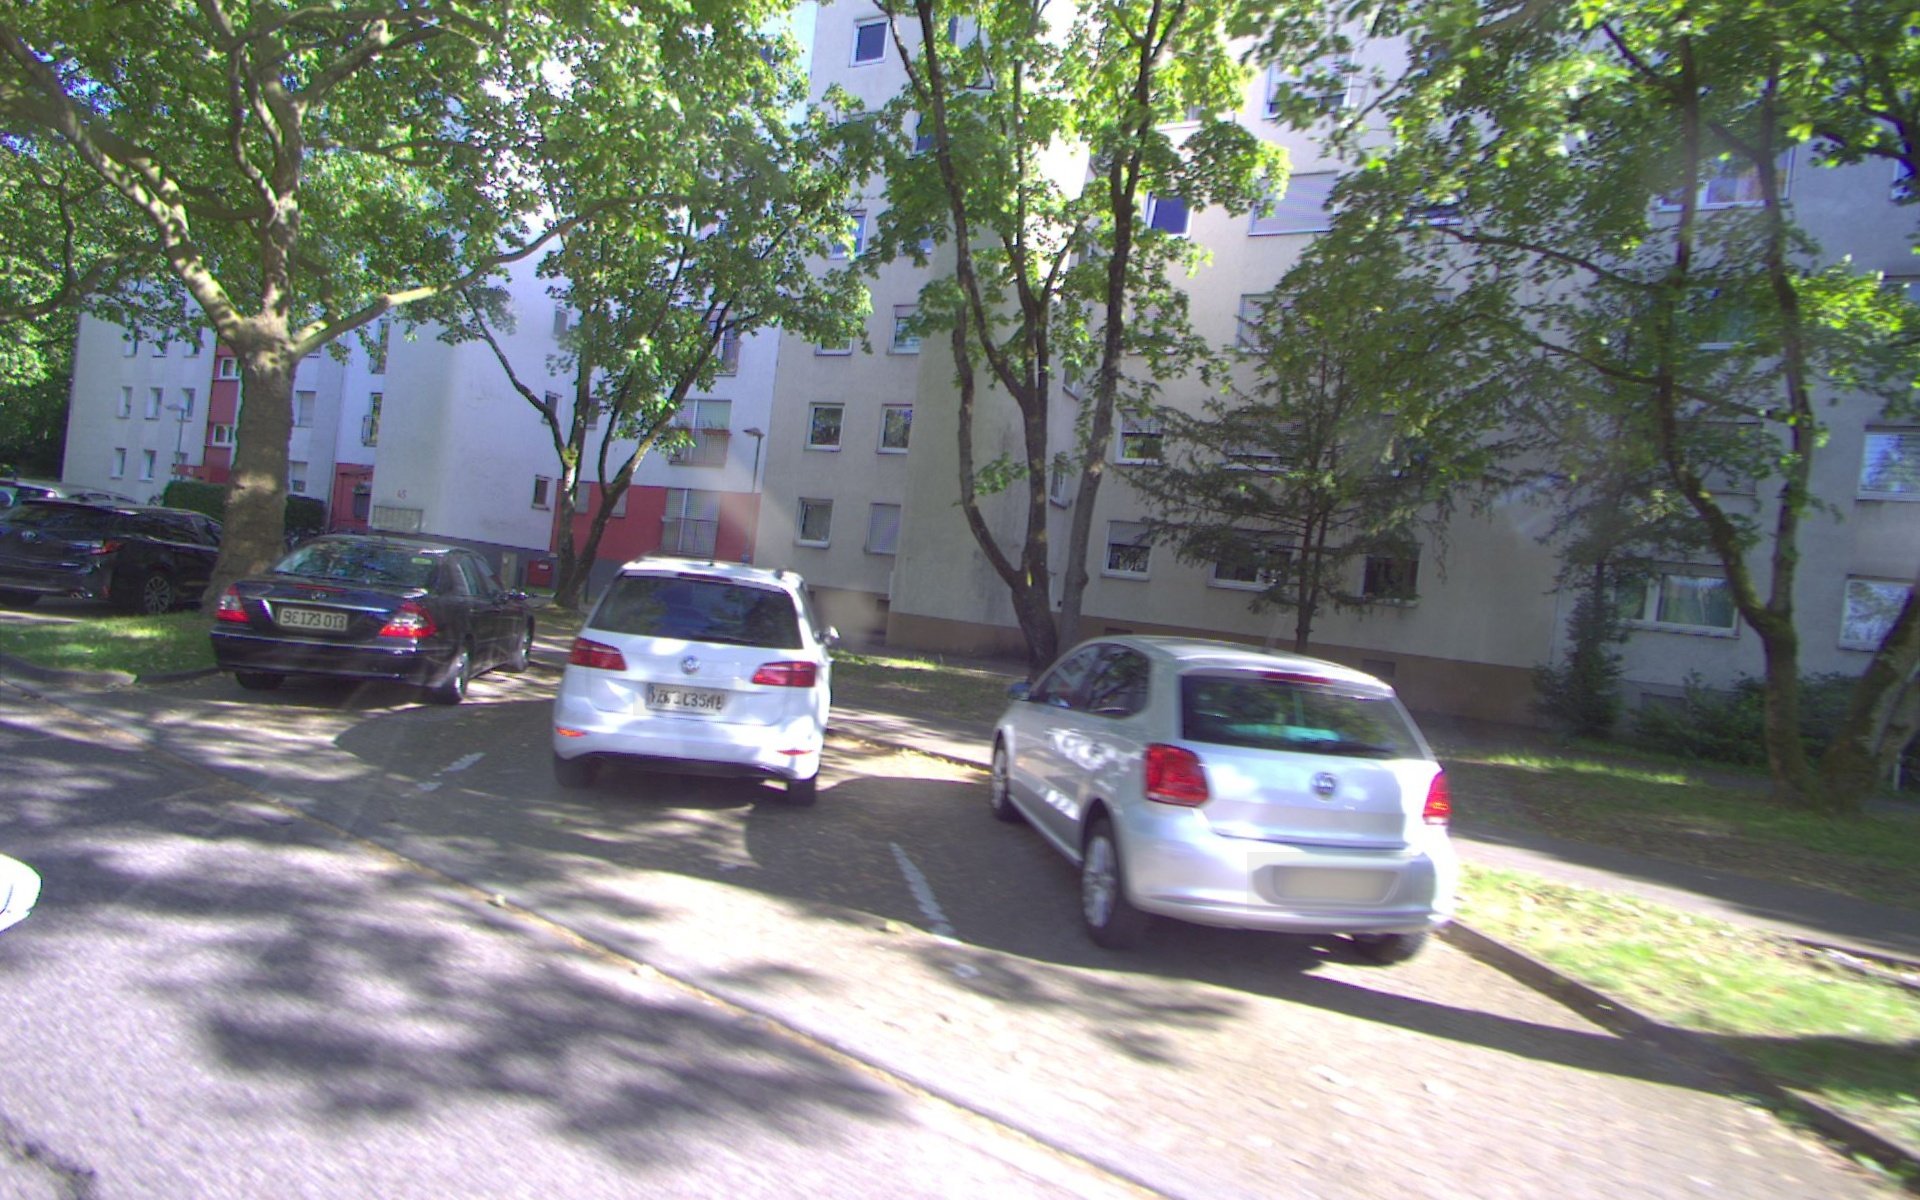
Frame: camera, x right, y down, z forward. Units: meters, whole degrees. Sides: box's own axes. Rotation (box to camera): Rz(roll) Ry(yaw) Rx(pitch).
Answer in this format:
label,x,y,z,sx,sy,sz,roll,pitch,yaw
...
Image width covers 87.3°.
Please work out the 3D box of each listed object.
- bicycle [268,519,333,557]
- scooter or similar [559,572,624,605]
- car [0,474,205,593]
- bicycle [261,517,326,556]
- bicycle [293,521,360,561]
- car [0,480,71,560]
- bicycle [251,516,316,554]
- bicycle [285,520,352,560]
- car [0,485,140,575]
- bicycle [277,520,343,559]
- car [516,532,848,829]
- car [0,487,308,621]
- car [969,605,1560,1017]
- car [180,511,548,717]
label,x,y,z,sx,sy,sz,roll,pitch,yaw
bicycle,-22.172,-2.074,33.855,0.491,1.145,1.796,7,3,27
scooter or similar,-9.570,-0.289,26.133,1.354,0.703,0.702,6,1,7
car,-14.111,-1.057,15.902,1.769,1.610,3.990,6,1,-10
bicycle,-22.635,-2.141,34.182,0.491,1.145,1.796,7,3,27
bicycle,-20.711,-1.908,32.911,0.491,1.145,1.796,7,3,27
car,-19.242,-1.612,19.100,1.772,1.530,4.197,6,1,-15
bicycle,-23.172,-2.210,34.500,0.491,1.145,1.796,7,3,27
bicycle,-21.192,-1.971,33.290,0.540,1.145,1.796,7,3,27
car,-16.723,-1.278,17.774,1.802,1.438,3.988,6,1,-13
bicycle,-21.690,-2.018,33.600,0.491,1.145,1.796,7,3,27
car,-1.912,0.449,7.954,1.769,1.596,3.992,6,1,-8
car,-11.287,-0.633,13.981,1.917,1.447,4.401,6,1,-7
car,1.323,0.922,6.160,1.769,1.462,3.992,6,1,-9
car,-5.594,0.056,10.184,1.771,1.441,4.576,6,1,-13
